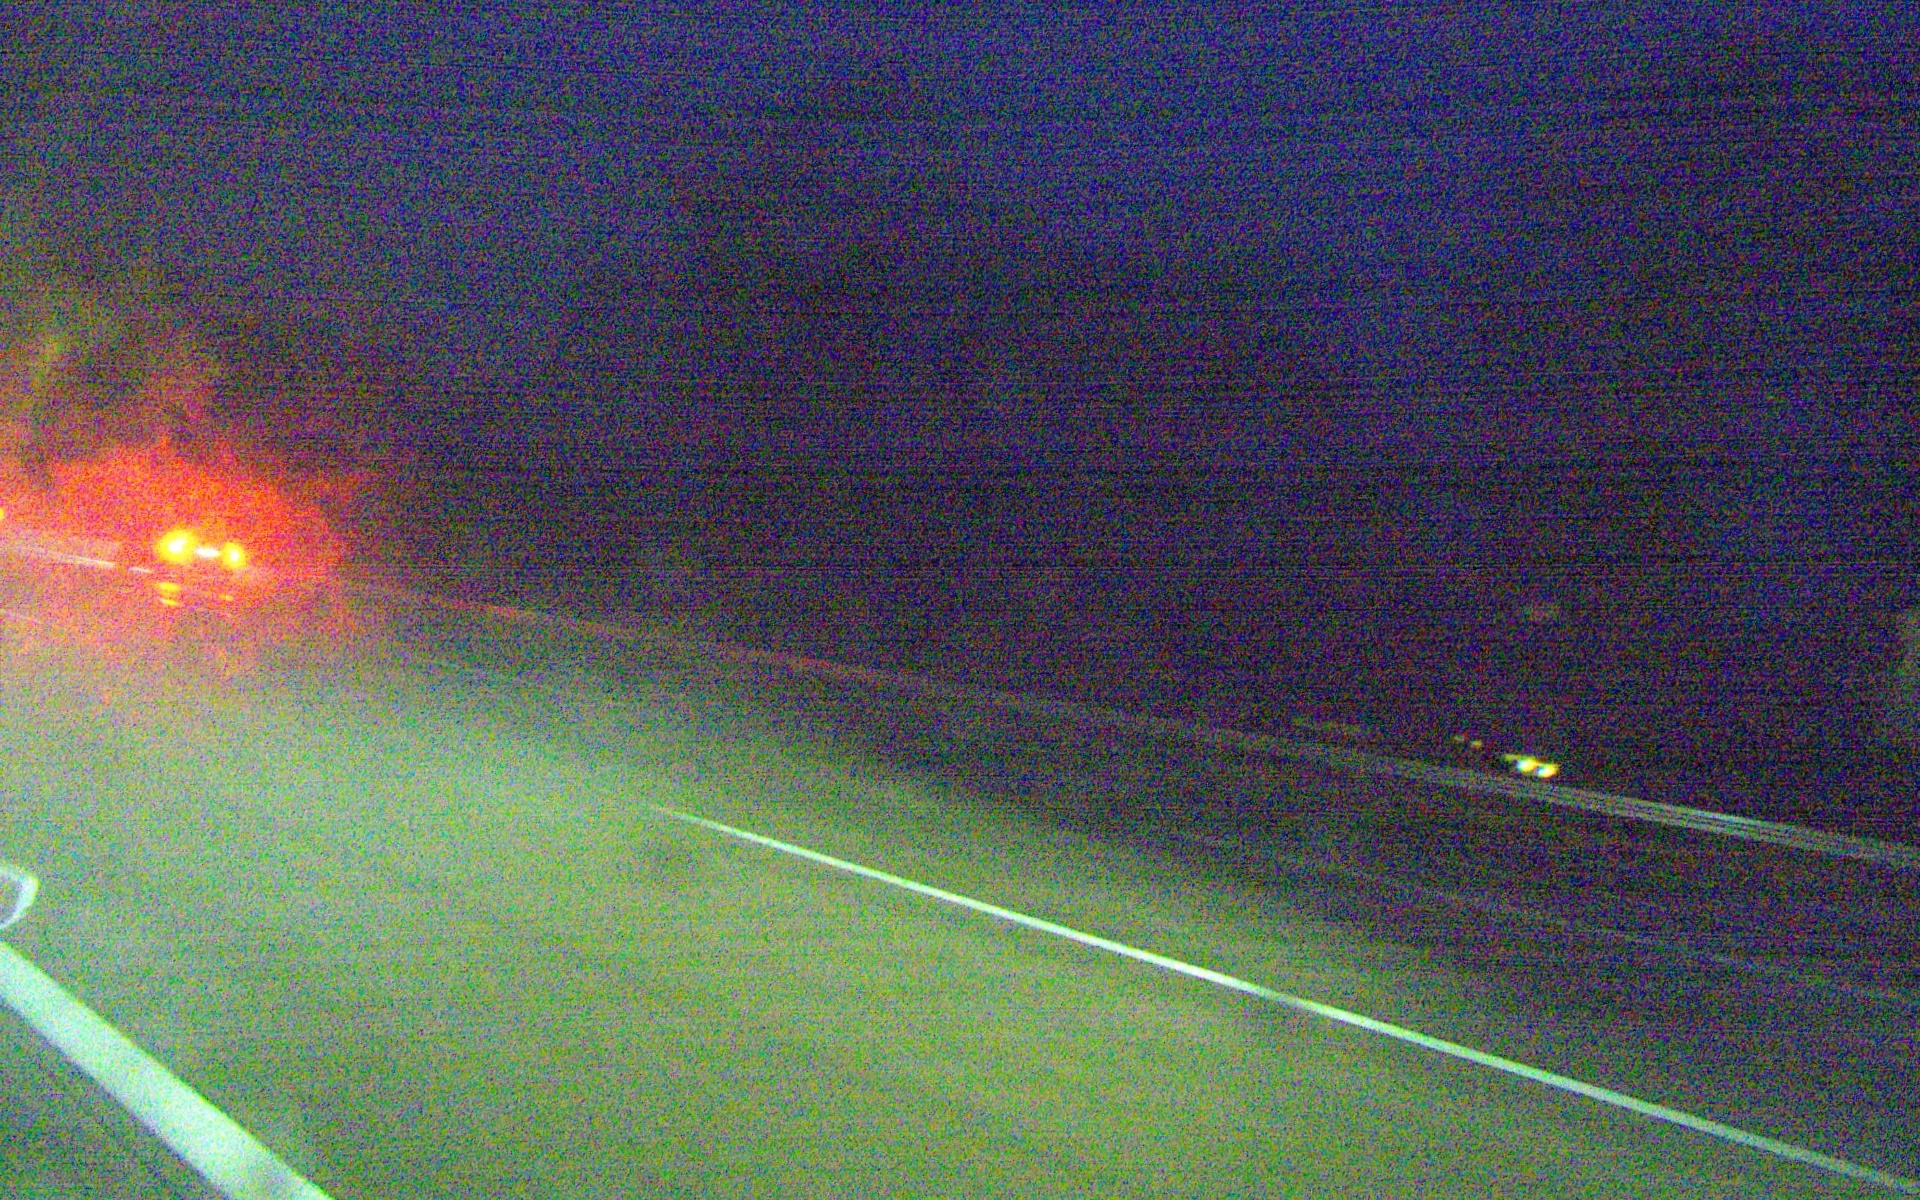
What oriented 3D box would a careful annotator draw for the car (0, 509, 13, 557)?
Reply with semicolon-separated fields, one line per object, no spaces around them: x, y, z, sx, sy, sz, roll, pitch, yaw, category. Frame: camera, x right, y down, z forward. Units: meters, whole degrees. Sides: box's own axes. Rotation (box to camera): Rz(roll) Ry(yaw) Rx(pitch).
-44.353;-3.250;44.864;3.938;2.036;2.236;7;-3;36;car

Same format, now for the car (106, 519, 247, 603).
-25.637;-1.311;32.848;5.365;2.036;2.065;7;-3;37;car
